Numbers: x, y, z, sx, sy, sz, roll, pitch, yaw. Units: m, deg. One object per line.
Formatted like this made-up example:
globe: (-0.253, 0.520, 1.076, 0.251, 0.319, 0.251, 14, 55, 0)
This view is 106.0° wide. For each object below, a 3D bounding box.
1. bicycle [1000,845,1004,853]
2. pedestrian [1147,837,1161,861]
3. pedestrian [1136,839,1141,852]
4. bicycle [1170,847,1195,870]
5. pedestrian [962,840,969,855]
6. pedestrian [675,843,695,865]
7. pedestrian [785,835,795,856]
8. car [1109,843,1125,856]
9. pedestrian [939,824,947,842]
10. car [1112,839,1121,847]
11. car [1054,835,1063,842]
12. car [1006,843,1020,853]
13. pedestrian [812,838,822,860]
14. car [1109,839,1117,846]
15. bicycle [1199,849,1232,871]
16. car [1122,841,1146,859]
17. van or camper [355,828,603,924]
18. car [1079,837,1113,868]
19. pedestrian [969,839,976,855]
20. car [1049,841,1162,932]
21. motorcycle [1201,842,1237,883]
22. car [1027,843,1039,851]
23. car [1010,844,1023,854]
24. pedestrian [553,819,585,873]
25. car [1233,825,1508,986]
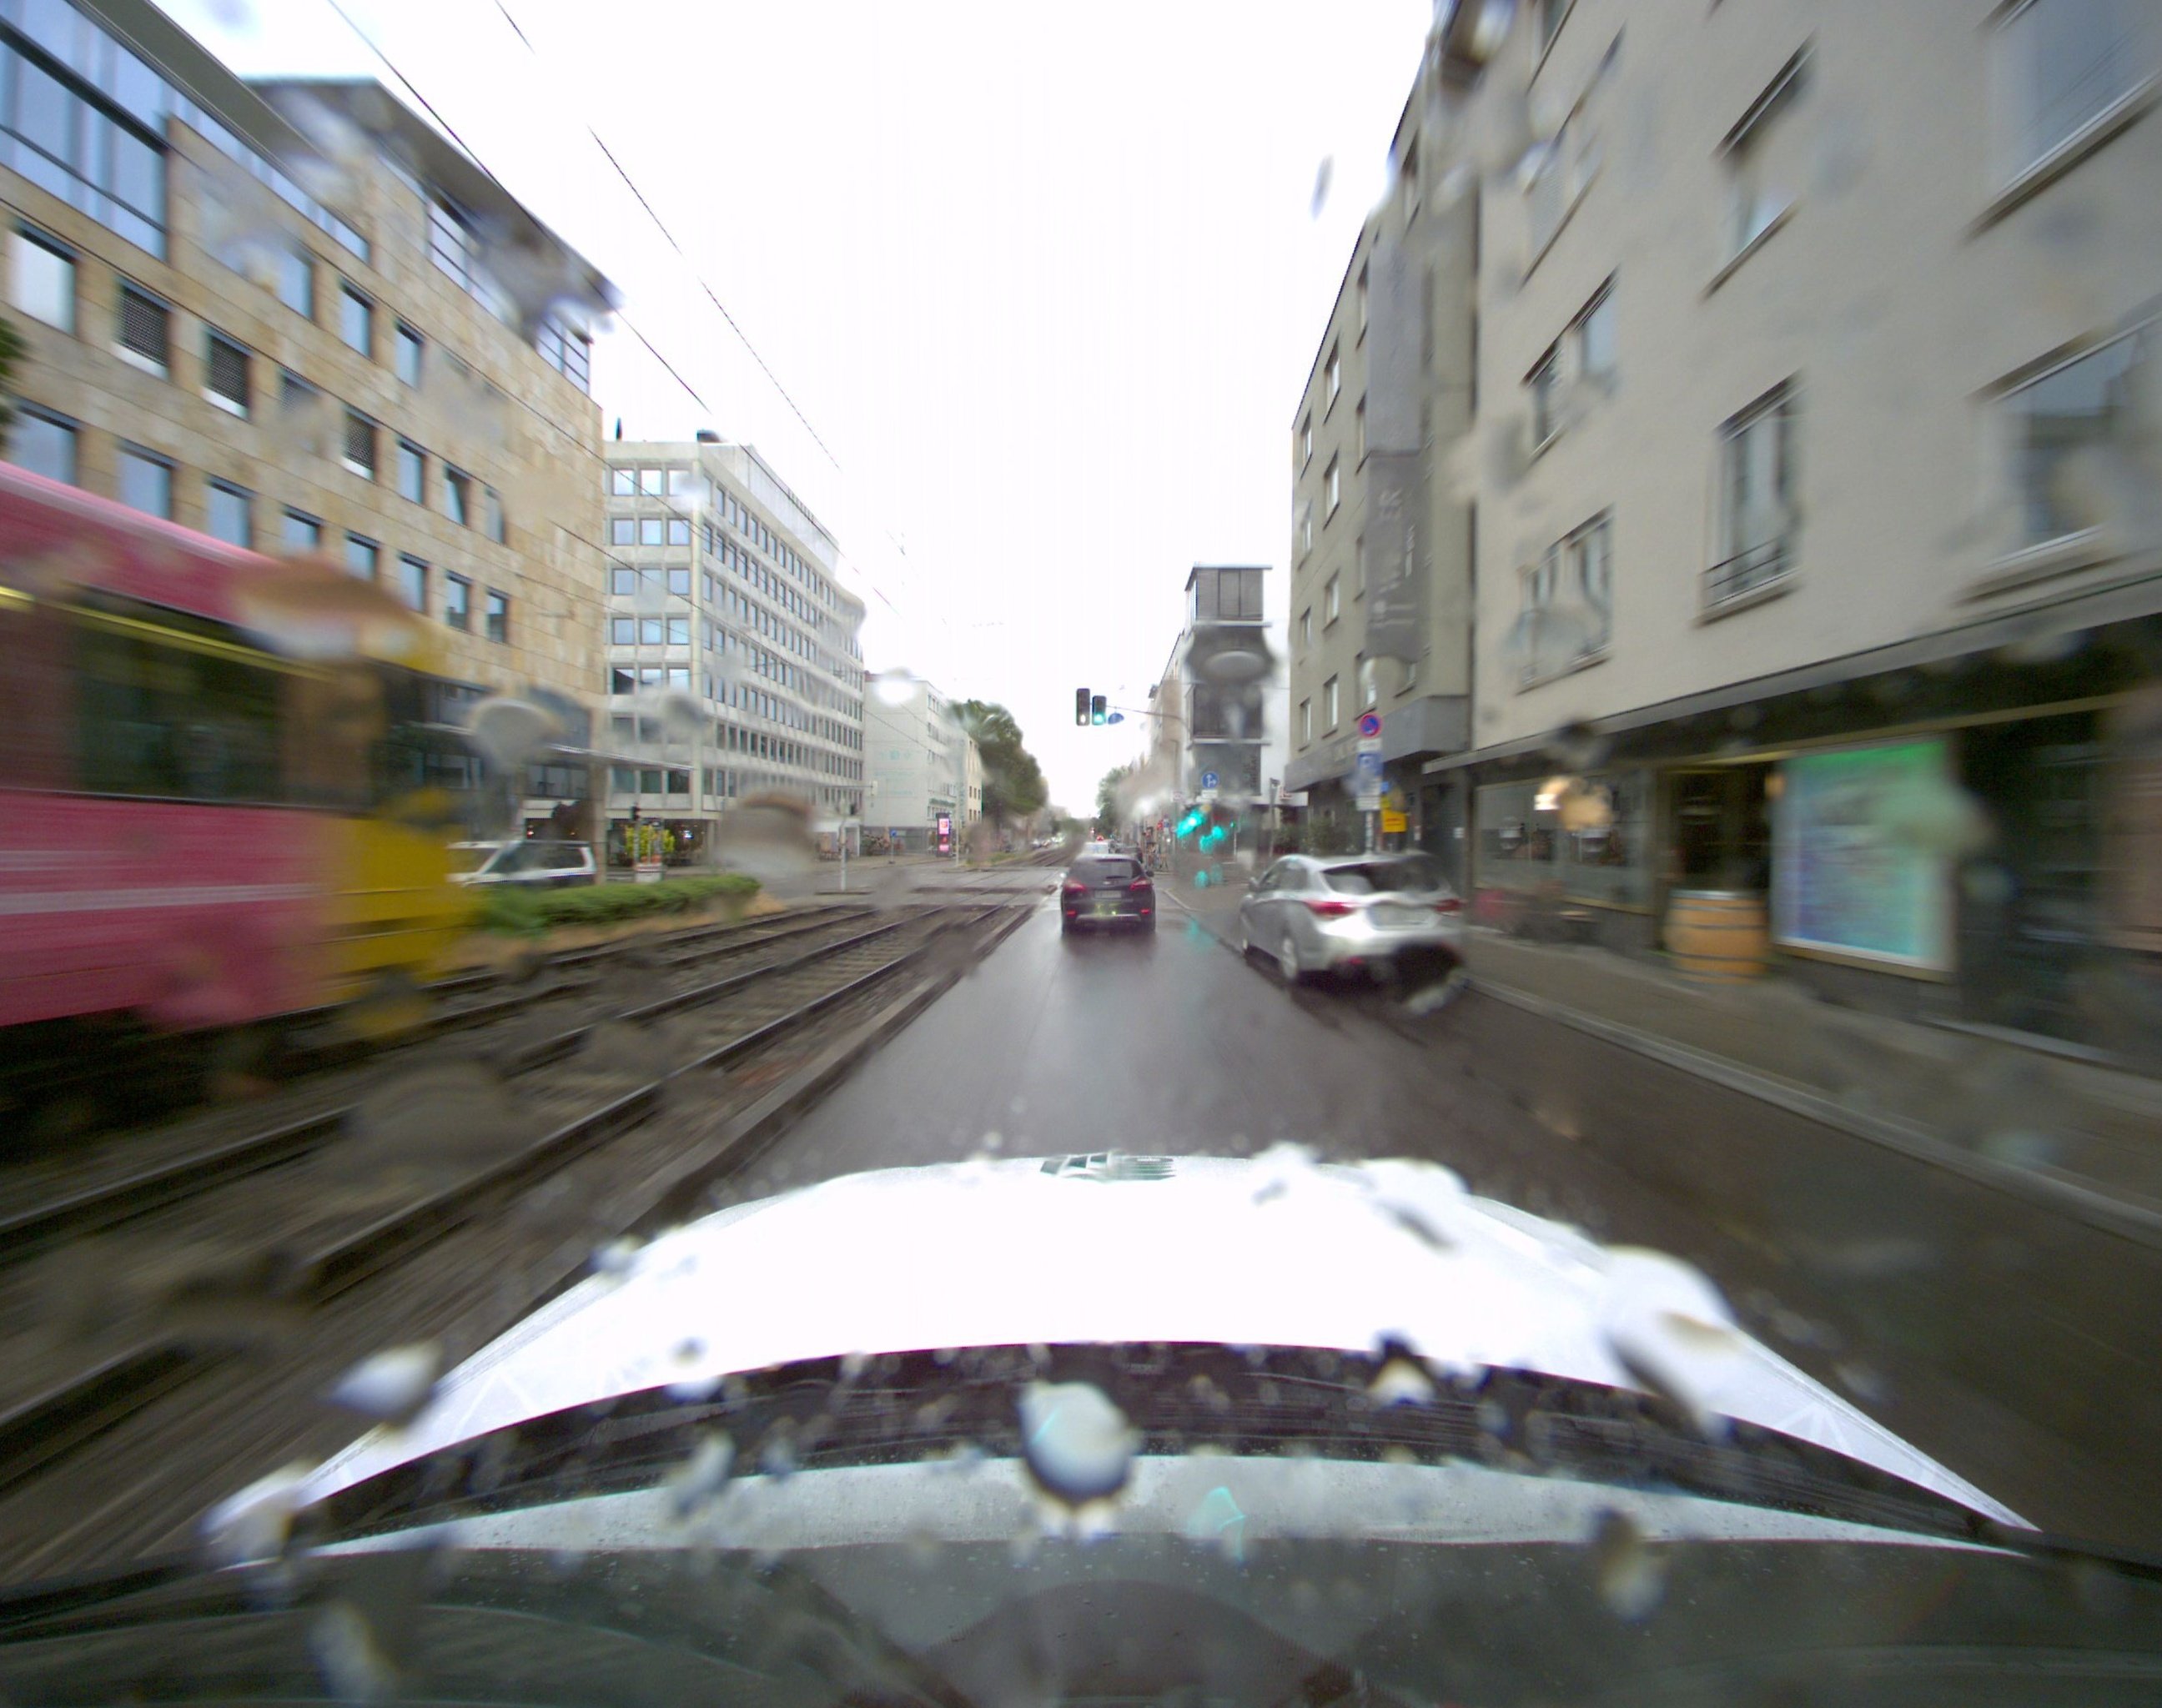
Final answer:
bicycle: (-12.061, -0.727, 123.753, 0.590, 1.226, 2.399, 1, 0, -6)
pedestrian: (4.892, -0.332, 54.592, 0.662, 1.582, 0.774, 0, 0, -21)
pedestrian: (9.021, -1.359, 127.436, 0.733, 2.013, 0.821, 0, 1, 0)
bicycle: (5.765, 0.246, 46.441, 0.499, 1.259, 1.941, 1, 0, -23)
pedestrian: (-14.568, -0.860, 102.477, 0.724, 1.895, 0.983, 1, 0, 1)
pedestrian: (-27.455, -0.015, 56.486, 0.891, 1.532, 0.965, 1, 1, 0)
pedestrian: (-23.840, -0.717, 66.784, 0.563, 1.748, 0.843, 1, 1, -3)
car: (4.579, -0.514, 103.942, 1.986, 1.594, 4.574, 0, 0, 2)
pedestrian: (-14.757, -2.209, 87.105, 0.725, 1.895, 0.688, 1, 0, -3)
car: (7.191, -2.258, 167.343, 1.733, 1.489, 4.001, 0, 1, 1)
car: (-5.642, -3.882, 208.293, 1.986, 1.519, 4.445, 1, -1, 2)
car: (-10.563, -1.003, 126.567, 1.737, 1.468, 4.221, -1, 1, 1)
pedestrian: (-21.553, -0.394, 66.387, 0.563, 1.822, 0.843, 1, 1, -3)
car: (6.700, -2.417, 171.818, 1.637, 1.515, 4.040, 0, 1, 1)
bicycle: (7.339, 0.296, 44.610, 0.580, 1.157, 1.935, 1, 0, -35)
car: (4.684, -0.350, 72.436, 1.986, 1.594, 4.273, 0, 0, 2)
van or camper: (-14.258, 0.485, 19.807, 2.009, 1.997, 5.199, 1, 0, 2)
car: (0.945, -0.107, 49.586, 1.986, 1.816, 4.273, 0, 0, 2)
pedestrian: (-13.664, -0.891, 102.430, 0.676, 1.895, 0.743, 1, 0, 1)
car: (0.505, 0.571, 16.597, 1.986, 1.594, 4.273, 0, 0, 2)
motorcycle: (5.080, 0.292, 29.974, 1.137, 1.461, 0.676, 0, 0, -35)
car: (-9.397, -1.482, 159.917, 1.986, 1.519, 4.437, 1, 1, 1)
car: (-10.361, -0.760, 131.514, 1.715, 1.570, 4.221, 1, 1, 1)
pedestrian: (-16.990, -0.275, 27.029, 0.670, 1.781, 0.708, 1, 1, 36)
car: (3.307, 0.509, 10.409, 2.016, 1.594, 4.623, 0, 0, 2)
